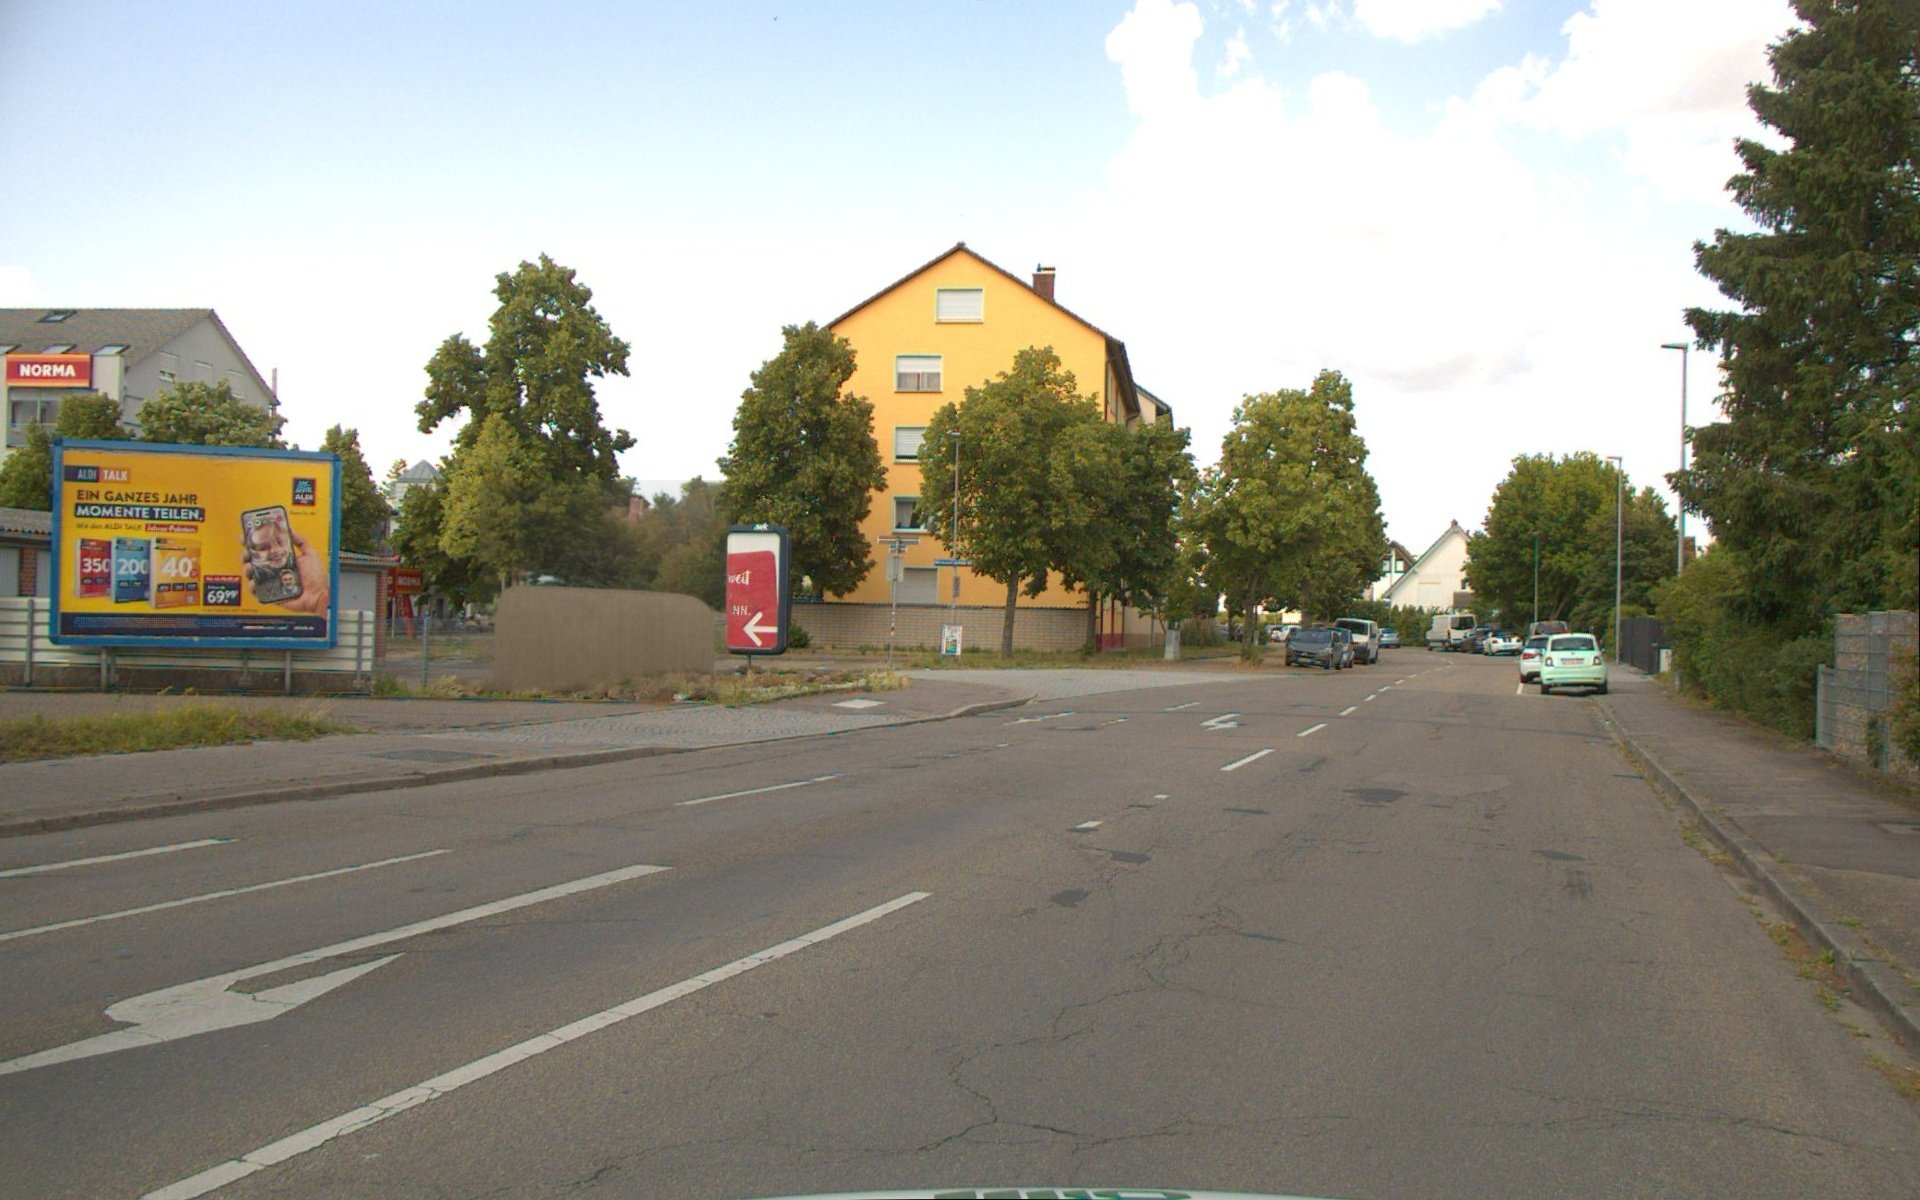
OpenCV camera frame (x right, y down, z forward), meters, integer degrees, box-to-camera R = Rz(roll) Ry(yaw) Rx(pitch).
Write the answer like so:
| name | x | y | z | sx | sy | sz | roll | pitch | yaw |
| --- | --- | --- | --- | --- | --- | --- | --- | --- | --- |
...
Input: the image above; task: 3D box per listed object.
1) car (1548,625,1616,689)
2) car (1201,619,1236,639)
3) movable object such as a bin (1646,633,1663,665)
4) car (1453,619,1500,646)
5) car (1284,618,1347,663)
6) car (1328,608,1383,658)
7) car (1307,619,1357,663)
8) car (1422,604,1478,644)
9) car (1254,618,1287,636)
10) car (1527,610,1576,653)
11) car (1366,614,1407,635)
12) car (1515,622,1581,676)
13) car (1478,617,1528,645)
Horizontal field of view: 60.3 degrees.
| name | x | y | z | sx | sy | sz | roll | pitch | yaw |
| --- | --- | --- | --- | --- | --- | --- | --- | --- | --- |
| car | 16.016 | 1.431 | 42.691 | 1.548 | 1.547 | 3.756 | 1 | -1 | 19 |
| car | 21.198 | 2.352 | 135.597 | 1.752 | 1.483 | 4.430 | 5 | -1 | -5 |
| movable object such as a bin | 23.236 | 1.632 | 55.344 | 0.505 | 1.057 | 0.630 | 1 | -1 | 20 |
| car | 31.839 | 1.990 | 102.037 | 1.682 | 1.613 | 4.125 | 1 | 0 | 2 |
| car | 13.348 | 1.554 | 61.971 | 1.649 | 1.512 | 3.983 | 4 | -1 | 21 |
| car | 18.092 | 1.475 | 75.459 | 1.841 | 2.044 | 5.324 | 5 | 1 | 19 |
| car | 15.350 | 1.660 | 68.080 | 1.487 | 1.575 | 3.757 | 6 | 2 | 18 |
| car | 32.125 | 1.545 | 108.665 | 2.073 | 2.484 | 5.895 | 1 | 0 | 2 |
| car | 28.462 | 2.451 | 151.584 | 1.761 | 1.550 | 3.966 | 1 | 0 | -8 |
| car | 28.185 | 1.492 | 78.919 | 1.803 | 1.978 | 4.879 | -2 | -1 | 16 |
| car | 31.820 | 1.801 | 123.462 | 1.703 | 1.483 | 4.362 | 1 | 0 | -3 |
| car | 17.725 | 1.450 | 49.804 | 1.686 | 1.512 | 3.748 | 1 | -1 | 22 |
| car | 31.078 | 1.756 | 94.795 | 1.703 | 1.539 | 4.461 | 1 | 0 | 4 |
